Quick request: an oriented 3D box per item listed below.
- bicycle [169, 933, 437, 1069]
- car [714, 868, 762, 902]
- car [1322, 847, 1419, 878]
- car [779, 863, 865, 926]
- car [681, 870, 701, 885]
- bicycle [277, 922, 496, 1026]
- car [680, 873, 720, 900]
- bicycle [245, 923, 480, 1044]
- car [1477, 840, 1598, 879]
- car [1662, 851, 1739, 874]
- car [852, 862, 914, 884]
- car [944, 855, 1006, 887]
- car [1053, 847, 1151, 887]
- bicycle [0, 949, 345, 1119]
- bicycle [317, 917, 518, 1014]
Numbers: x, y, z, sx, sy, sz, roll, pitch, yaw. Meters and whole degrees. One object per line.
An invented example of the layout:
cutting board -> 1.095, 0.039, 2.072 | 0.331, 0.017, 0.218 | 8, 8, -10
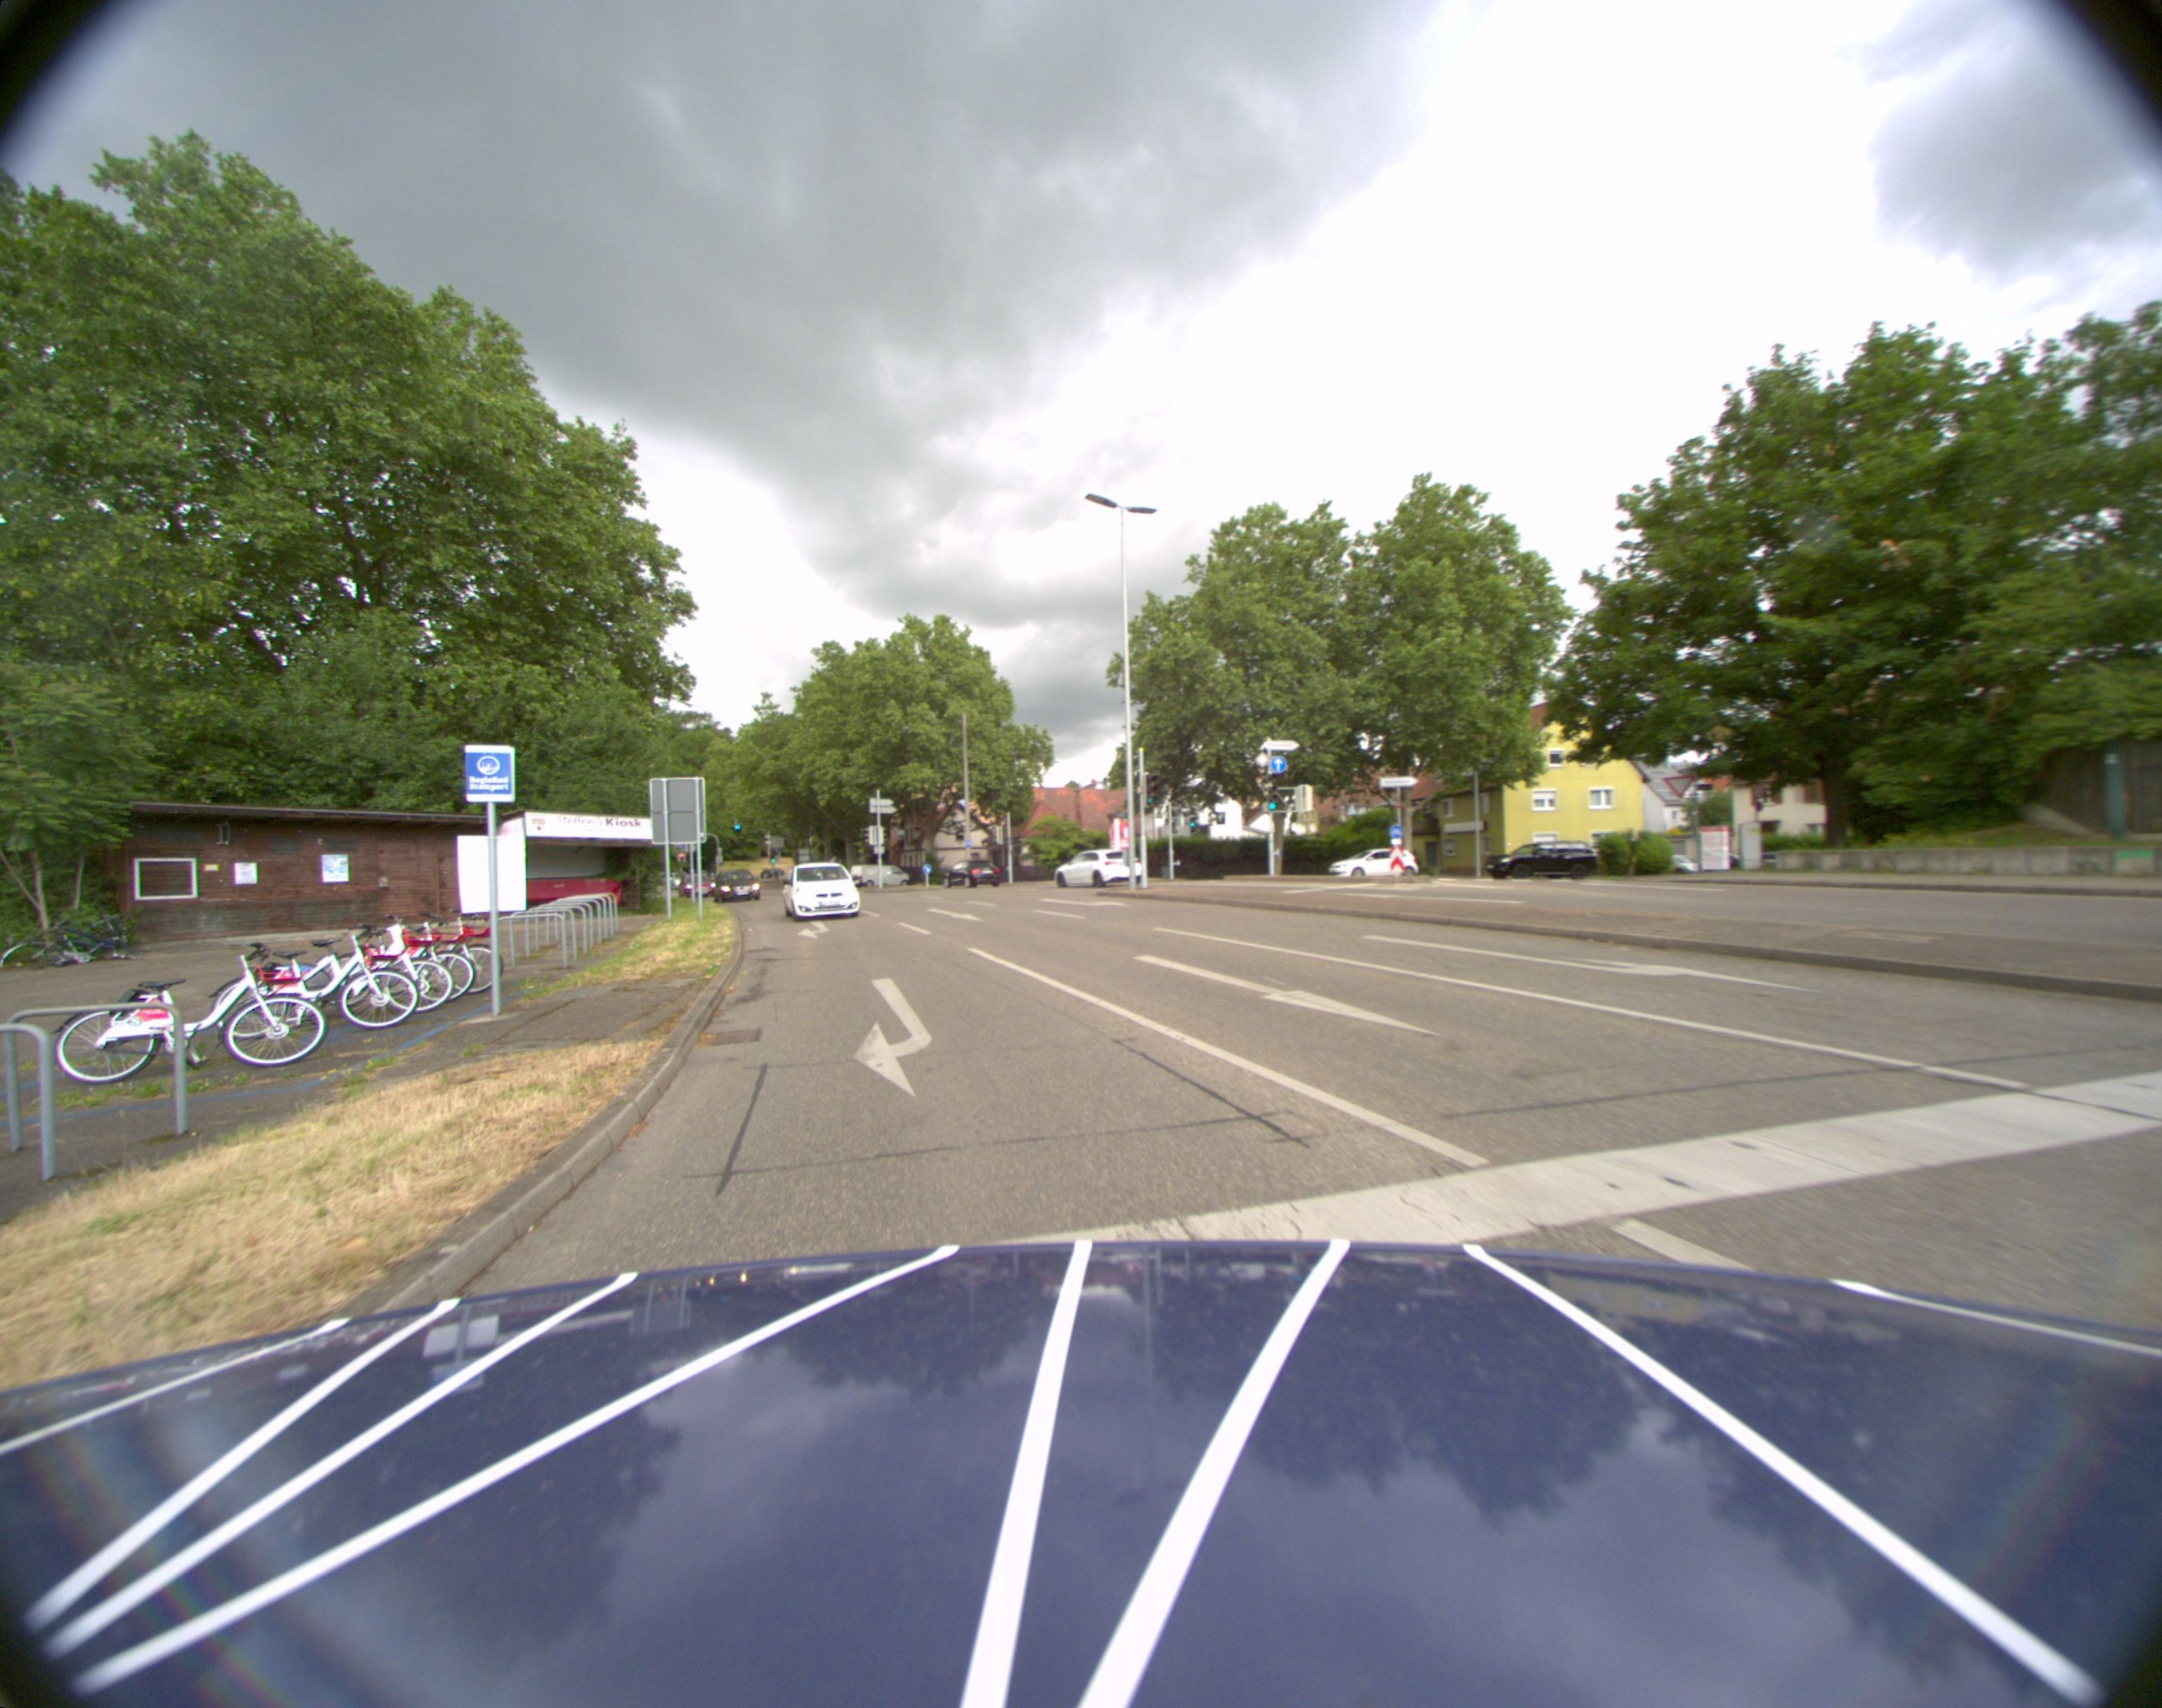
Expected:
bicycle -> -8.030, 1.483, 7.953 | 1.816, 1.110, 0.581 | -3, 3, -22
car -> -17.166, 1.529, 37.911 | 1.724, 1.522, 4.178 | -3, 0, -30
car -> 13.476, 0.394, 35.449 | 3.802, 1.312, 1.811 | -2, 0, -6
car -> -7.090, 1.034, 20.599 | 1.677, 1.439, 3.597 | -4, 1, -27
car -> -40.289, 2.381, 78.541 | 1.799, 1.423, 3.634 | -2, 0, -27
bicycle -> -8.537, 1.450, 9.433 | 1.885, 1.046, 0.597 | -2, 2, -17
car -> -26.213, 2.185, 52.141 | 1.900, 1.607, 4.497 | -3, 2, -33
bicycle -> -8.160, 1.442, 8.733 | 1.816, 1.110, 0.581 | -3, 3, -22
car -> 21.448, 0.261, 35.819 | 4.588, 1.642, 1.812 | -2, 0, 0
car -> 39.192, 0.556, 48.191 | 1.729, 1.334, 3.806 | -2, 0, 0
car -> -16.825, 1.590, 64.640 | 1.726, 1.689, 4.900 | 0, 1, 42
car -> -5.450, 0.857, 38.722 | 1.734, 1.439, 3.991 | -2, 0, -30
car -> 0.731, 0.526, 29.536 | 1.814, 1.331, 4.109 | -5, 1, -31
bicycle -> -7.766, 1.500, 6.608 | 1.816, 1.110, 0.581 | -3, 3, -22
bicycle -> -8.735, 1.444, 10.090 | 1.885, 1.046, 0.597 | -2, 2, -17
